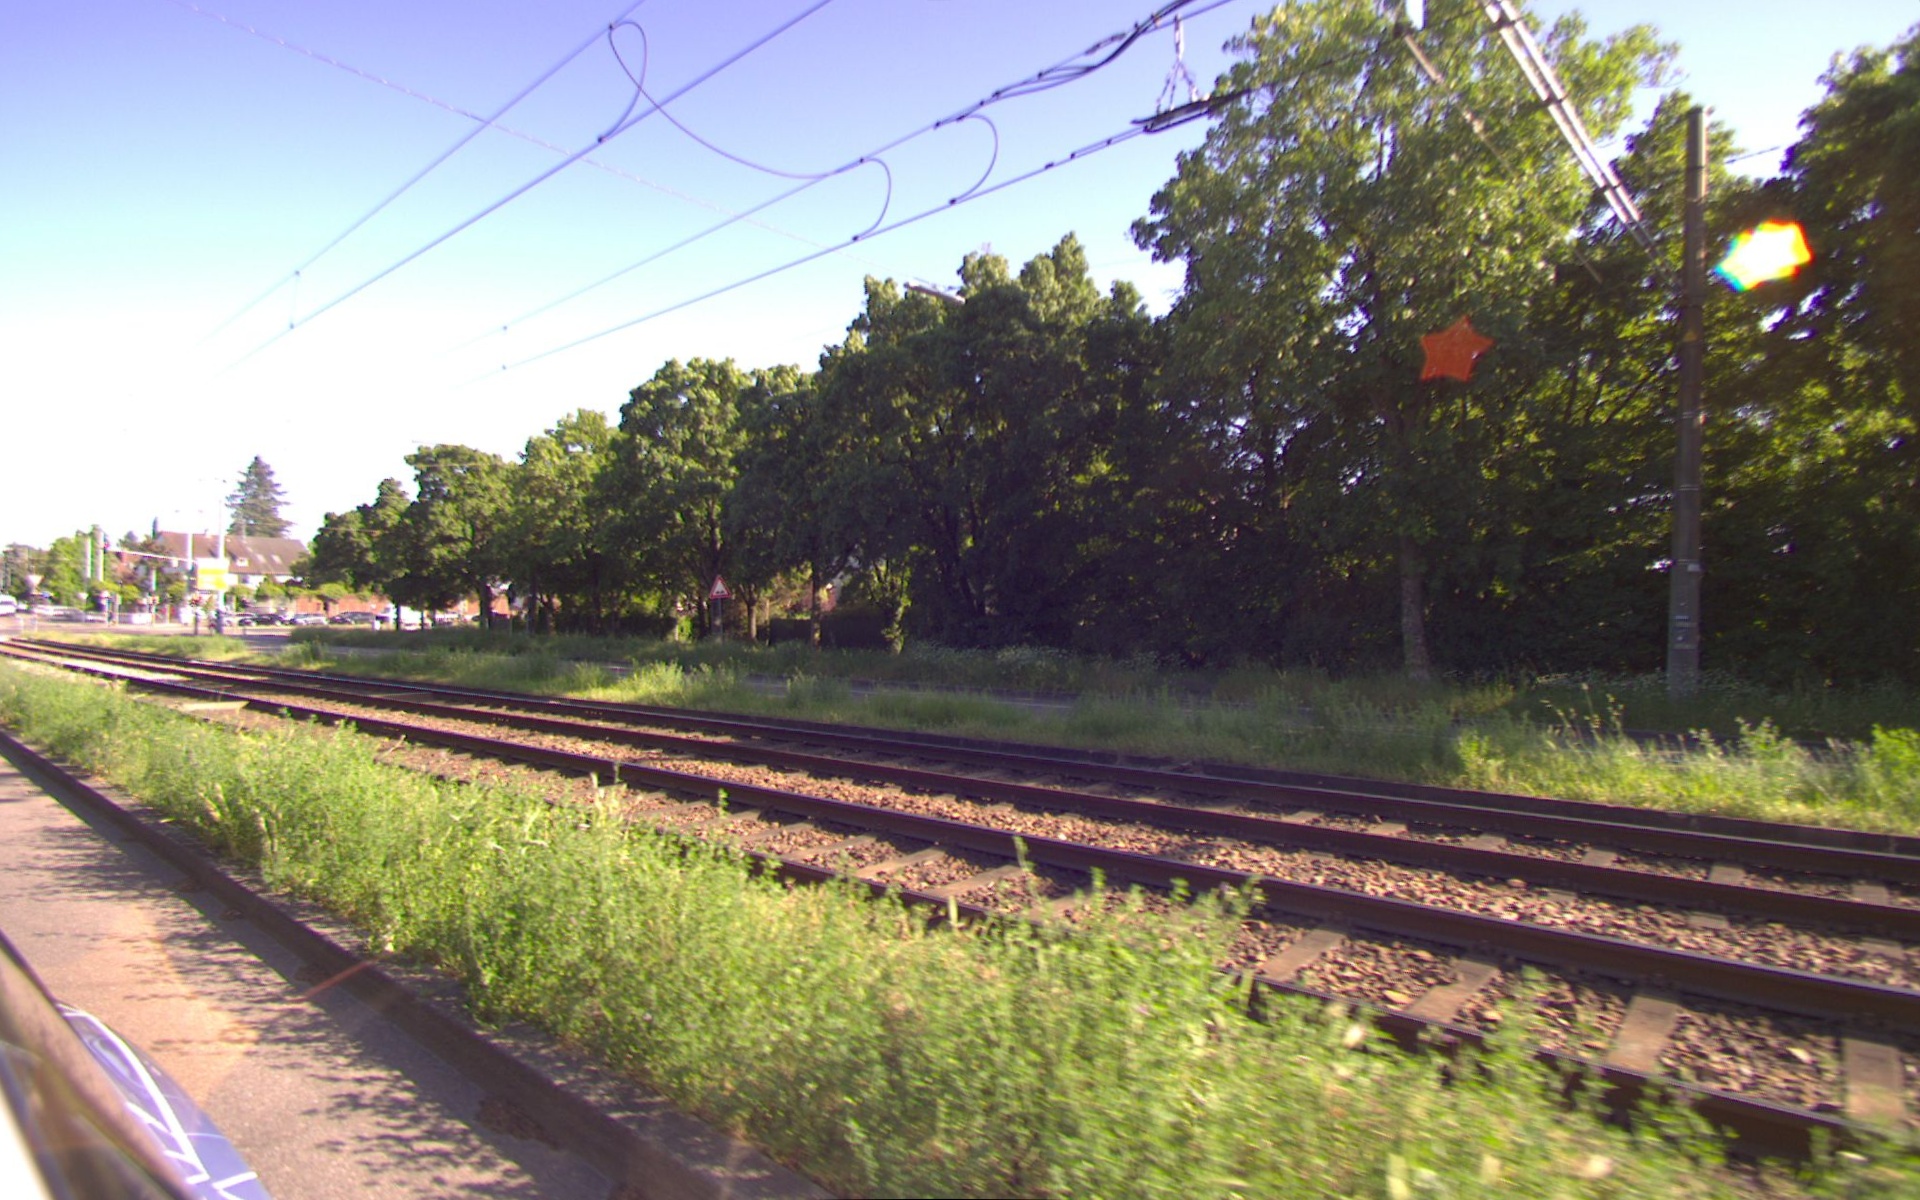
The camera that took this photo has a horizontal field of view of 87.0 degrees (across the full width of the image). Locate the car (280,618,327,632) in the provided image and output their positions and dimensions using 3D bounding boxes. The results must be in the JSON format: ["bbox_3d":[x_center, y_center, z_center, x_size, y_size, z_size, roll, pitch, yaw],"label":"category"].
[{"bbox_3d":[-73.035,2.772,112.644,1.920,1.477,4.237,-1,-1,15],"label":"car"}]

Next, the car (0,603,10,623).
[{"bbox_3d":[-122.432,1.576,128.657,2.314,2.476,6.876,1,-1,-44],"label":"car"}]

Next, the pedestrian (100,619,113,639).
[{"bbox_3d":[-86.386,2.913,102.473,0.765,1.963,0.611,0,-1,0],"label":"pedestrian"}]

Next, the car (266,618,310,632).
[{"bbox_3d":[-76.195,2.840,114.808,1.657,1.488,3.980,1,-1,15],"label":"car"}]

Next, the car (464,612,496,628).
[{"bbox_3d":[-65.439,2.707,138.074,1.791,2.029,3.982,1,-1,14],"label":"car"}]

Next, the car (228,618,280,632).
[{"bbox_3d":[-74.892,2.653,107.421,1.920,1.477,4.227,0,-1,15],"label":"car"}]

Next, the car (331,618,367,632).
[{"bbox_3d":[-71.126,2.933,117.831,1.485,1.579,3.507,0,-1,18],"label":"car"}]

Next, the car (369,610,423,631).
[{"bbox_3d":[-69.218,2.473,124.308,2.163,2.429,5.887,0,-1,17],"label":"car"}]
